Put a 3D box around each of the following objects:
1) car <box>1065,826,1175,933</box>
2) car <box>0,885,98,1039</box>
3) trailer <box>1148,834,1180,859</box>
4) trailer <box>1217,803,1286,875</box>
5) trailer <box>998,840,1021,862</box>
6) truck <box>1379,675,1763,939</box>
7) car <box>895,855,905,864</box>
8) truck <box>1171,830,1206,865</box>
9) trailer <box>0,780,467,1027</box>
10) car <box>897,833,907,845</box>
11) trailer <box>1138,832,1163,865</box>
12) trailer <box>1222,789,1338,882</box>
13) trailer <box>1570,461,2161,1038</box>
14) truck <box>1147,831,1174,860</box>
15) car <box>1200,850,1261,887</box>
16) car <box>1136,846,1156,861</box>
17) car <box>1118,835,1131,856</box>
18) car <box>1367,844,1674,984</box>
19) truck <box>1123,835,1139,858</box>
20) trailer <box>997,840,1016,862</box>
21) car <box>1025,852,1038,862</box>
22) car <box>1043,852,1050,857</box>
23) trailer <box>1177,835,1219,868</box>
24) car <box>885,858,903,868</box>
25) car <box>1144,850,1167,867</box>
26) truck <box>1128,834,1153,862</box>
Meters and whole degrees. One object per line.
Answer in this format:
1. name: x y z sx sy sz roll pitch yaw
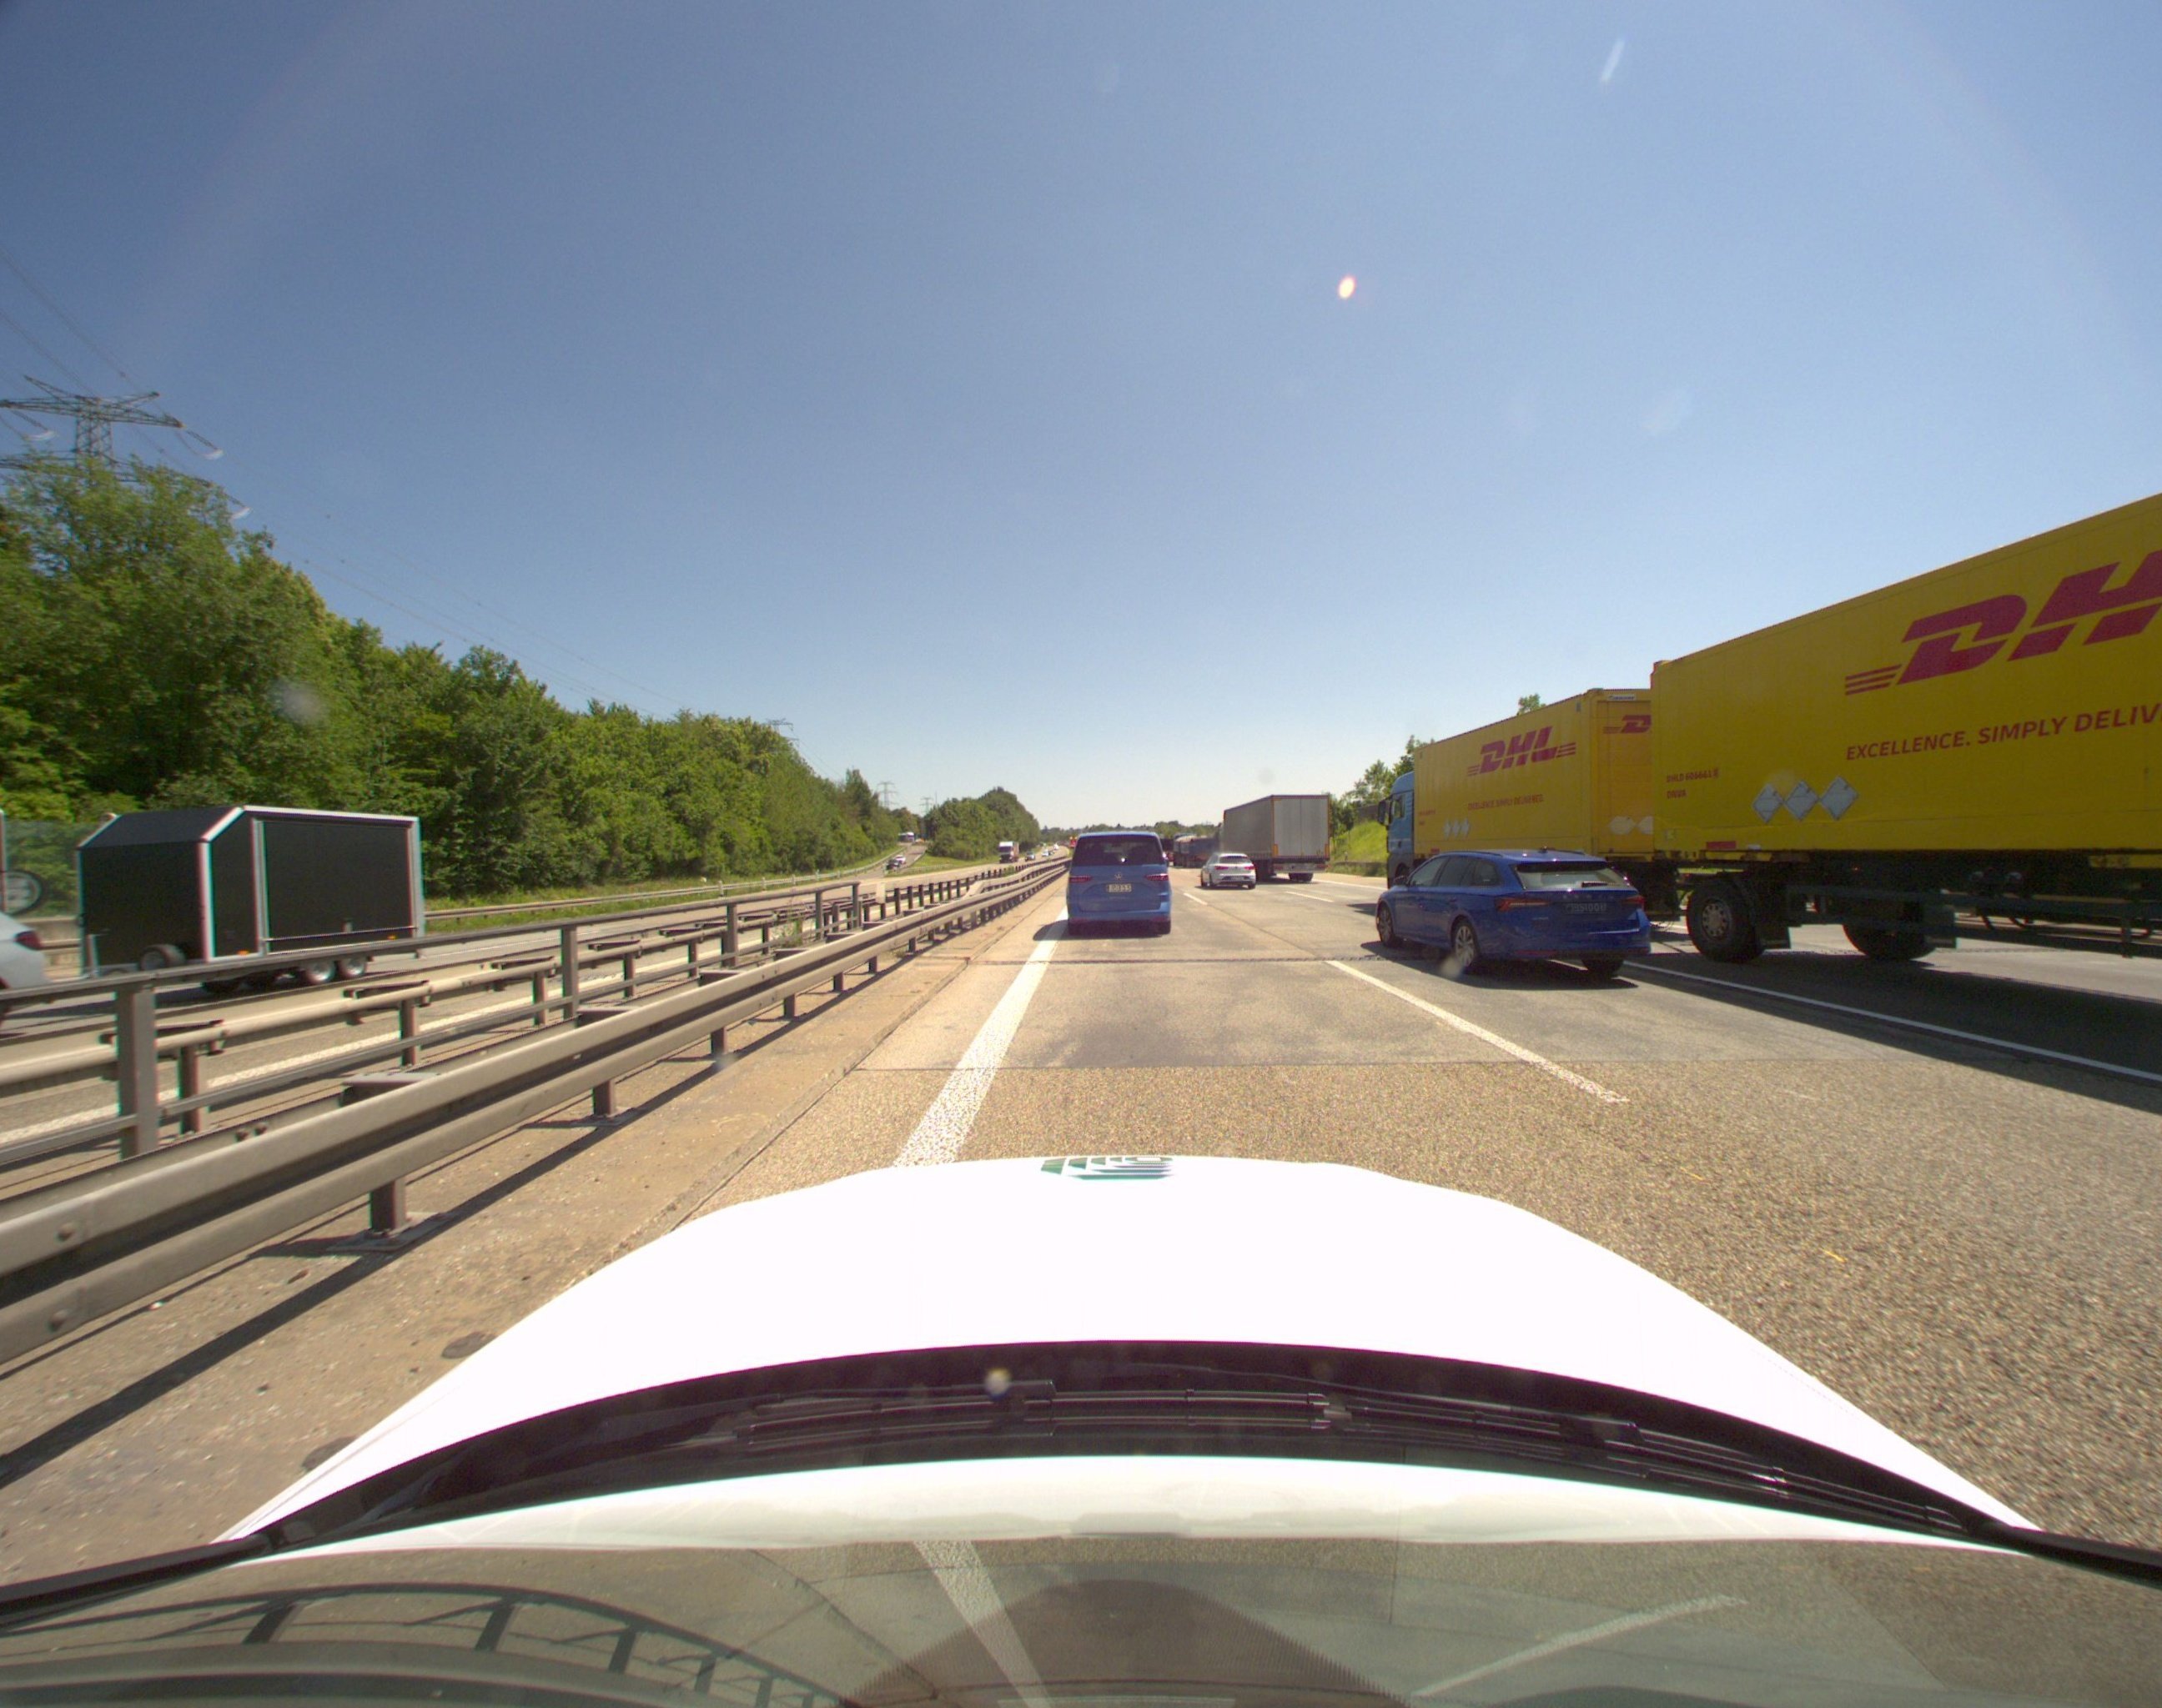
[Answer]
1. car: 0.761 0.462 16.115 1.894 1.838 4.002 0 -1 2
2. car: -12.520 1.225 7.193 1.864 1.625 4.630 -5 -1 2
3. trailer: 11.266 -0.886 112.587 3.631 3.079 15.783 0 -1 3
4. trailer: 10.105 -0.866 48.951 2.914 4.043 6.412 -1 0 1
5. trailer: -13.954 -0.630 160.117 2.754 3.976 14.683 -3 0 1
6. truck: 9.473 -0.737 17.725 2.754 4.109 9.959 0 0 3
7. car: -31.758 1.001 143.124 1.687 1.456 4.325 0 -1 -14
8. truck: 10.638 -0.660 81.116 2.734 3.311 7.134 0 1 1
9. trailer: -12.434 0.642 12.159 2.158 2.777 5.378 -5 -1 2
10. car: -49.487 -4.164 225.350 2.074 2.880 6.691 -2 -1 -18
11. trailer: 11.593 -0.824 137.086 3.632 5.136 13.081 0 -1 2
12. trailer: 9.979 -0.815 42.799 2.952 4.049 13.754 -1 0 1
13. trailer: 9.200 -0.754 8.577 2.755 4.117 9.381 0 0 2
14. truck: 11.704 -1.185 120.664 3.610 4.094 7.530 0 -1 3
15. car: 5.948 0.543 32.763 1.860 1.361 4.002 0 0 2
16. car: 6.773 -0.051 85.349 1.775 1.524 4.000 0 -1 1
17. car: 11.302 -2.248 213.330 3.207 5.257 8.145 0 -1 1
18. car: 5.319 0.643 10.634 1.700 1.441 4.429 0 -1 1
19. truck: 11.077 -1.495 181.198 3.058 4.920 10.690 0 -1 1
20. trailer: -14.055 -0.580 153.602 2.747 3.976 6.132 -3 0 1
21. car: -9.519 0.632 156.347 1.986 1.941 4.898 0 -1 2
22. car: -9.671 0.135 228.101 1.845 1.467 4.303 -2 -1 0
23. trailer: 10.496 -0.294 73.841 2.734 2.836 9.118 0 1 1
24. car: -28.697 1.348 125.127 1.991 1.576 5.263 0 -1 -6
25. car: 6.614 0.389 72.330 1.833 1.454 4.002 0 -1 2
26. truck: 11.565 -1.115 159.390 3.610 5.213 15.683 0 -1 0
